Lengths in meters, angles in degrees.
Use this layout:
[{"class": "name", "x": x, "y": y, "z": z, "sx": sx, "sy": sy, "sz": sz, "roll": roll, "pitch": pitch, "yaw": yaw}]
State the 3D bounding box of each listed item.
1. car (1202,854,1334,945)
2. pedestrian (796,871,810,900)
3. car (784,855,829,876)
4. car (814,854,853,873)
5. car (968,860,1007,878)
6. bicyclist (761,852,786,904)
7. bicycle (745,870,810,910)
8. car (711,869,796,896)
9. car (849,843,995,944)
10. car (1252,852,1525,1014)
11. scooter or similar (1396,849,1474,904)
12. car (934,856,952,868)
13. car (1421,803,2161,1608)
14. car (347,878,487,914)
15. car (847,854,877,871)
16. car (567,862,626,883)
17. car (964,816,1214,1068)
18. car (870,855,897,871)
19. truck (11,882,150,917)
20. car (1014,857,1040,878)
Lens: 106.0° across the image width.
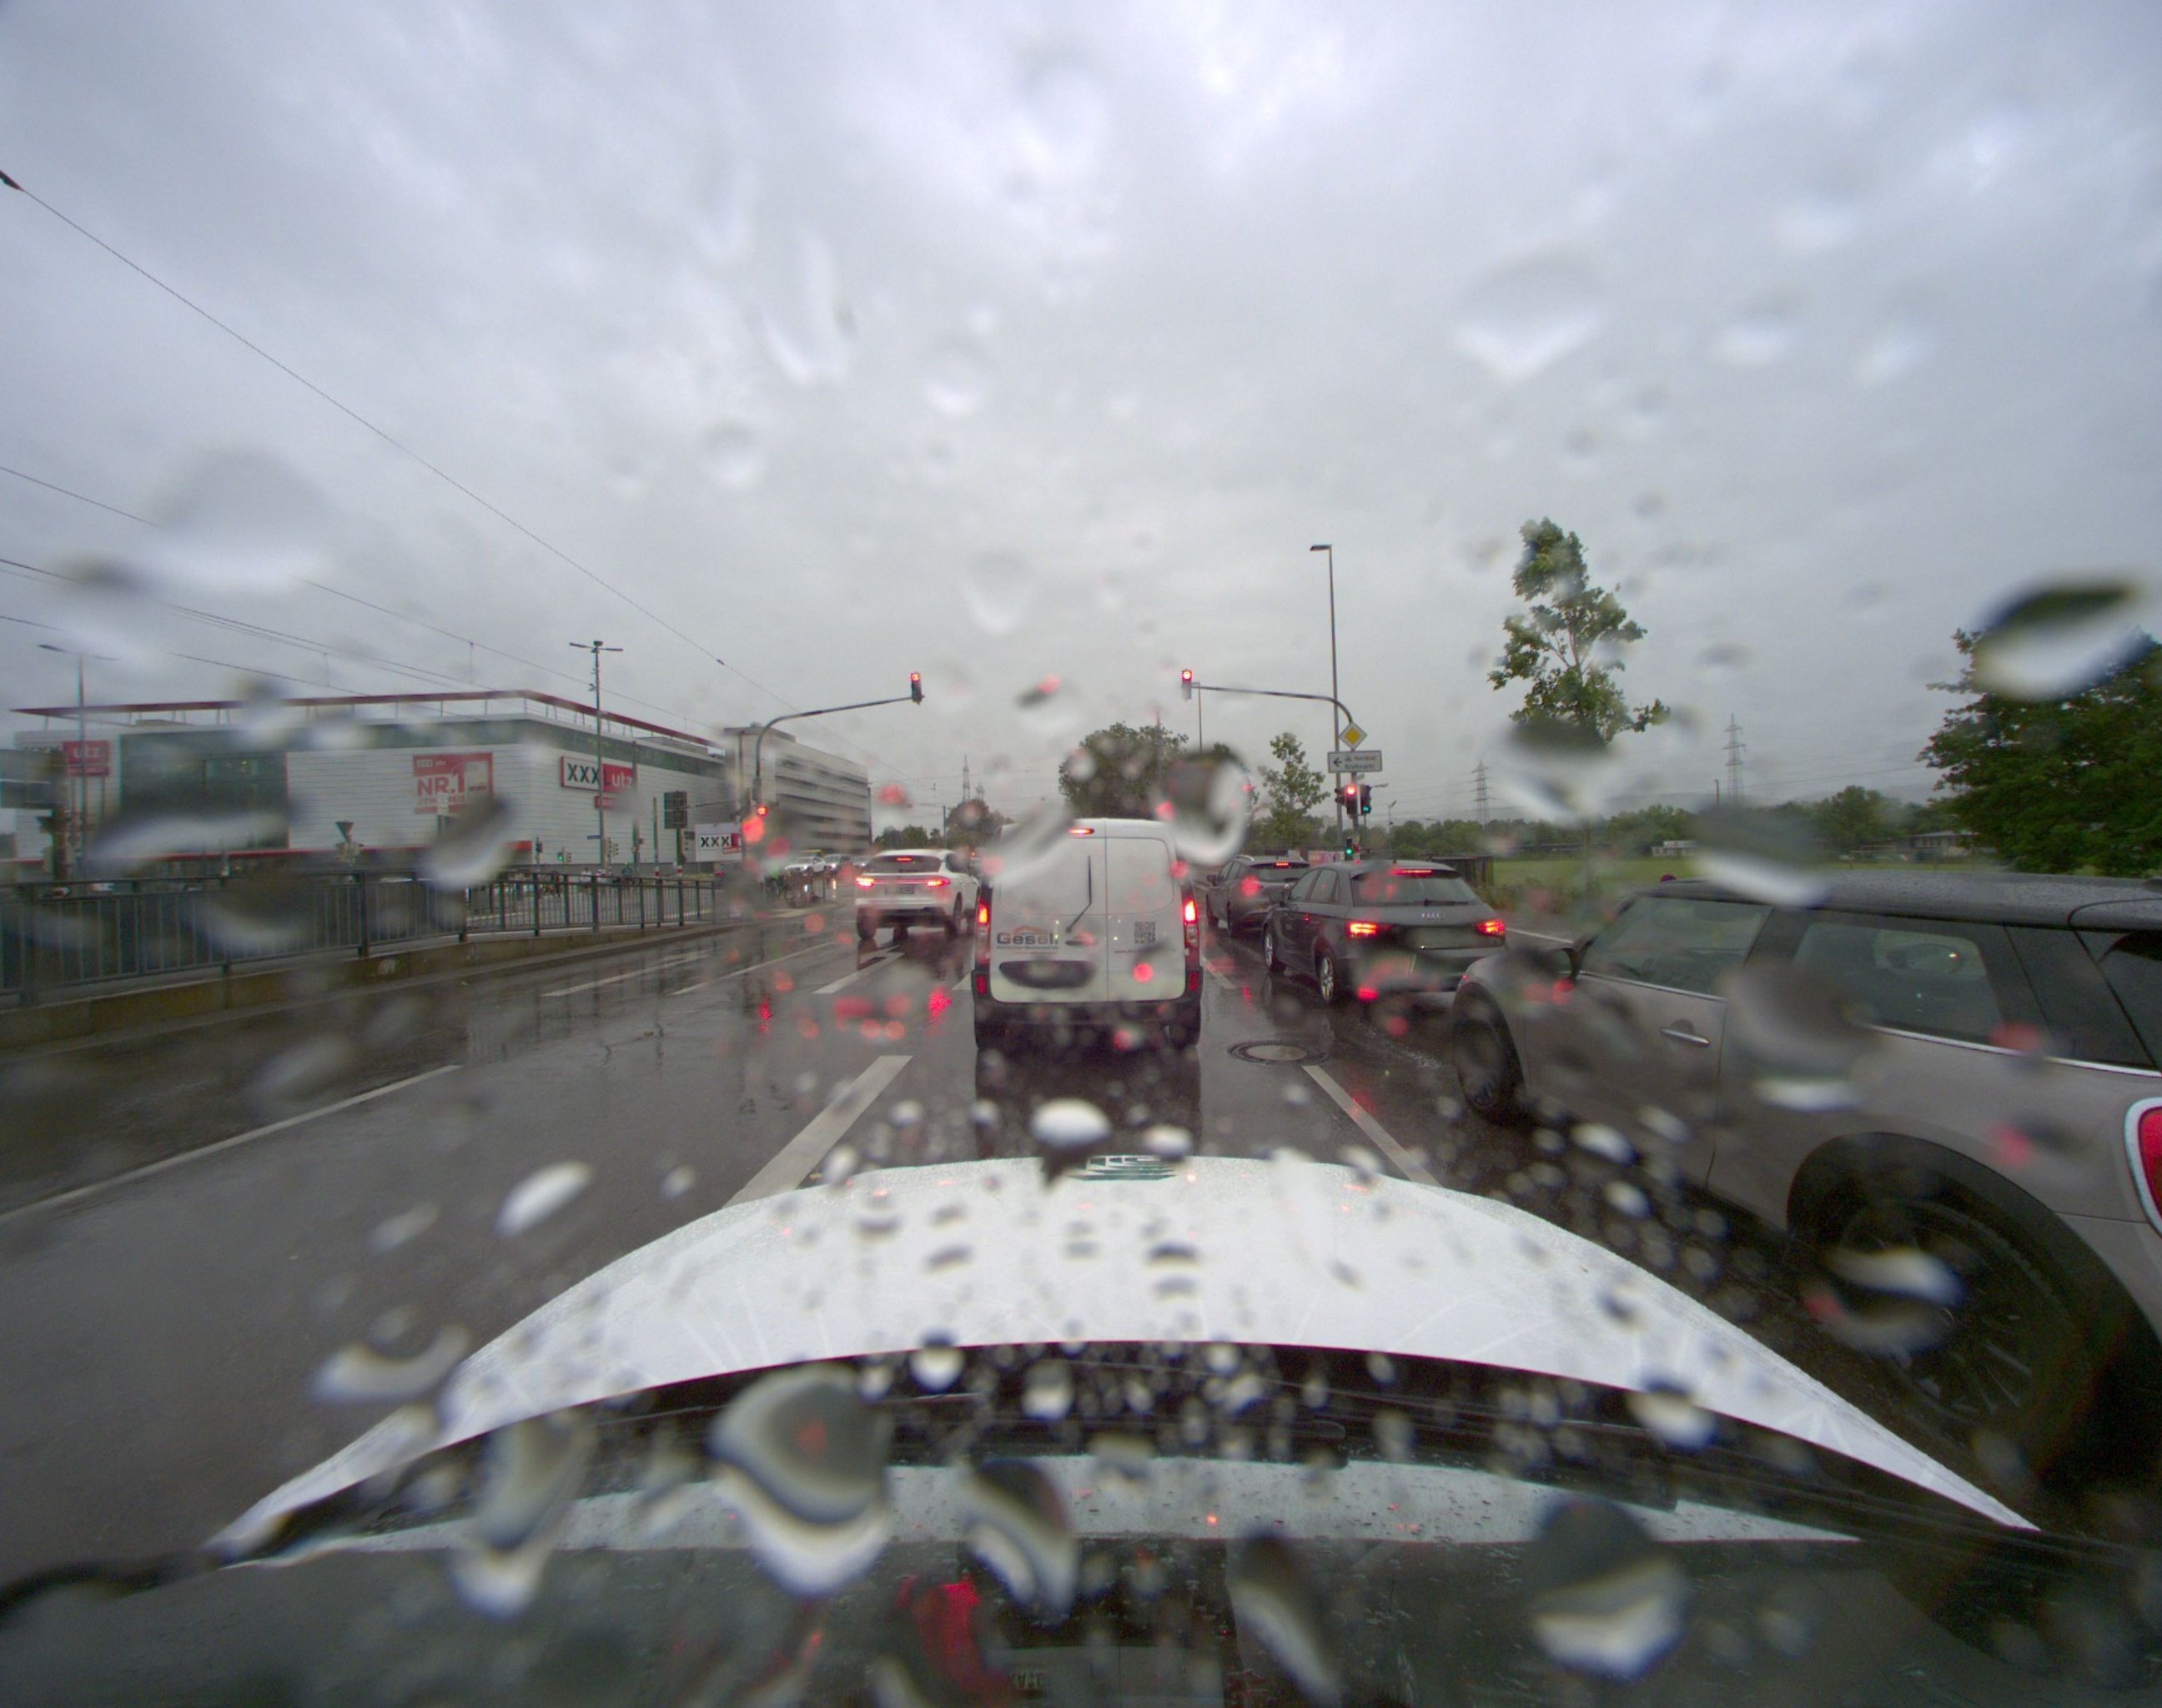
[{"class": "car", "x": 3.397, "y": 0.769, "z": 15.469, "sx": 1.678, "sy": 1.508, "sz": 3.921, "roll": 0, "pitch": 0, "yaw": 1}, {"class": "pedestrian", "x": -8.828, "y": 0.988, "z": 25.873, "sx": 0.314, "sy": 0.897, "sz": 0.380, "roll": 1, "pitch": 0, "yaw": -1}, {"class": "car", "x": -19.432, "y": 0.810, "z": 57.810, "sx": 1.704, "sy": 1.426, "sz": 3.810, "roll": 1, "pitch": -1, "yaw": 2}, {"class": "car", "x": -19.335, "y": 0.772, "z": 63.718, "sx": 1.704, "sy": 1.426, "sz": 3.810, "roll": 1, "pitch": -1, "yaw": 2}, {"class": "car", "x": -5.719, "y": 0.916, "z": 50.114, "sx": 1.483, "sy": 1.085, "sz": 3.544, "roll": 1, "pitch": -1, "yaw": 8}, {"class": "bicyclist", "x": -9.047, "y": 0.692, "z": 23.979, "sx": 0.604, "sy": 1.491, "sz": 0.597, "roll": 0, "pitch": -1, "yaw": -13}, {"class": "bicycle", "x": -8.915, "y": 1.043, "z": 23.981, "sx": 1.756, "sy": 1.137, "sz": 0.517, "roll": 0, "pitch": -1, "yaw": -14}, {"class": "car", "x": -15.052, "y": 1.308, "z": 37.402, "sx": 3.542, "sy": 1.207, "sz": 1.428, "roll": 1, "pitch": -1, "yaw": -26}, {"class": "car", "x": -3.045, "y": 0.707, "z": 16.650, "sx": 1.923, "sy": 1.775, "sz": 4.665, "roll": 0, "pitch": 0, "yaw": 2}, {"class": "car", "x": 3.095, "y": 0.732, "z": 8.997, "sx": 1.592, "sy": 1.366, "sz": 3.629, "roll": -2, "pitch": -1, "yaw": 0}, {"class": "scooter or similar", "x": 8.521, "y": 0.498, "z": 19.764, "sx": 0.687, "sy": 1.211, "sz": 3.022, "roll": -2, "pitch": 0, "yaw": 3}, {"class": "car", "x": -17.621, "y": 1.020, "z": 104.057, "sx": 1.554, "sy": 1.426, "sz": 3.570, "roll": 1, "pitch": -1, "yaw": 2}, {"class": "car", "x": 2.942, "y": 0.705, "z": 3.189, "sx": 1.696, "sy": 1.508, "sz": 3.881, "roll": 1, "pitch": -1, "yaw": 2}, {"class": "car", "x": -26.951, "y": 1.688, "z": 33.203, "sx": 4.063, "sy": 1.376, "sz": 1.596, "roll": 1, "pitch": -1, "yaw": -20}, {"class": "car", "x": -19.049, "y": 0.779, "z": 70.952, "sx": 1.554, "sy": 1.426, "sz": 3.570, "roll": 1, "pitch": -1, "yaw": 2}, {"class": "car", "x": -31.893, "y": 1.199, "z": 53.695, "sx": 1.473, "sy": 1.354, "sz": 3.810, "roll": 1, "pitch": -1, "yaw": 2}, {"class": "car", "x": 0.010, "y": 0.590, "z": 7.828, "sx": 1.749, "sy": 1.750, "sz": 4.166, "roll": -1, "pitch": 1, "yaw": -2}, {"class": "car", "x": -18.876, "y": 0.872, "z": 78.033, "sx": 1.554, "sy": 1.426, "sz": 3.570, "roll": 1, "pitch": -1, "yaw": 2}, {"class": "truck", "x": -60.996, "y": 2.759, "z": 49.732, "sx": 5.859, "sy": 1.942, "sz": 2.012, "roll": 1, "pitch": -1, "yaw": 0}, {"class": "car", "x": -4.203, "y": 1.072, "z": 64.073, "sx": 1.628, "sy": 1.522, "sz": 3.777, "roll": 2, "pitch": 0, "yaw": 2}]
